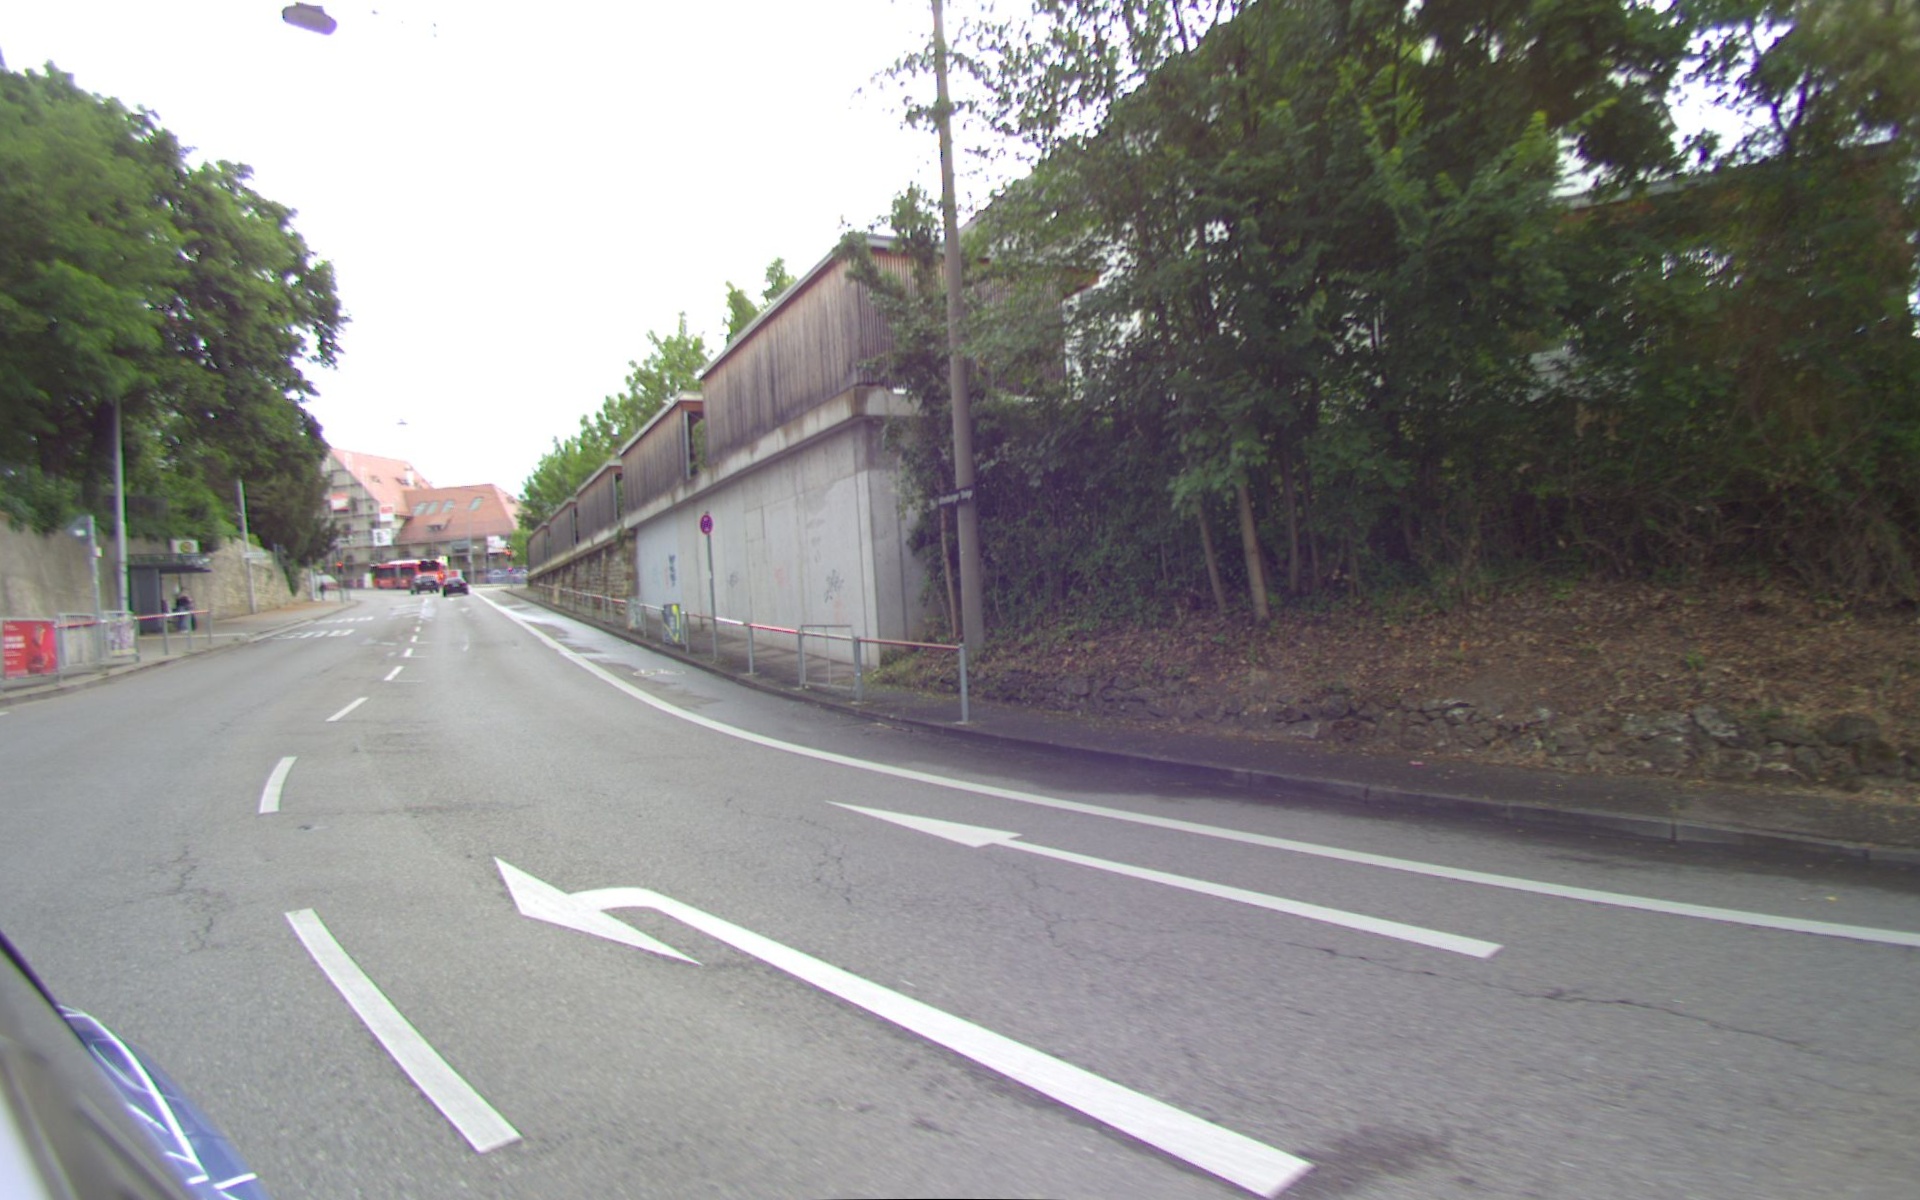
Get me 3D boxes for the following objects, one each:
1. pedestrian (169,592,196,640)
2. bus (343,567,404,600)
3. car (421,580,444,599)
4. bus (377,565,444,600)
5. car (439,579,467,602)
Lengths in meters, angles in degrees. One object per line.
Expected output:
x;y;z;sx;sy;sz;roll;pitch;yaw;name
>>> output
-27.703;0.556;36.067;0.707;1.652;0.742;-1;1;-36;pedestrian
-67.088;-1.867;115.613;9.475;3.664;2.875;0;1;39;bus
-48.778;-0.948;93.533;1.825;1.729;3.893;-1;1;-28;car
-59.626;-1.833;109.738;9.472;3.664;2.875;0;1;39;bus
-39.467;-0.715;78.713;1.825;1.729;3.893;-1;1;-28;car
